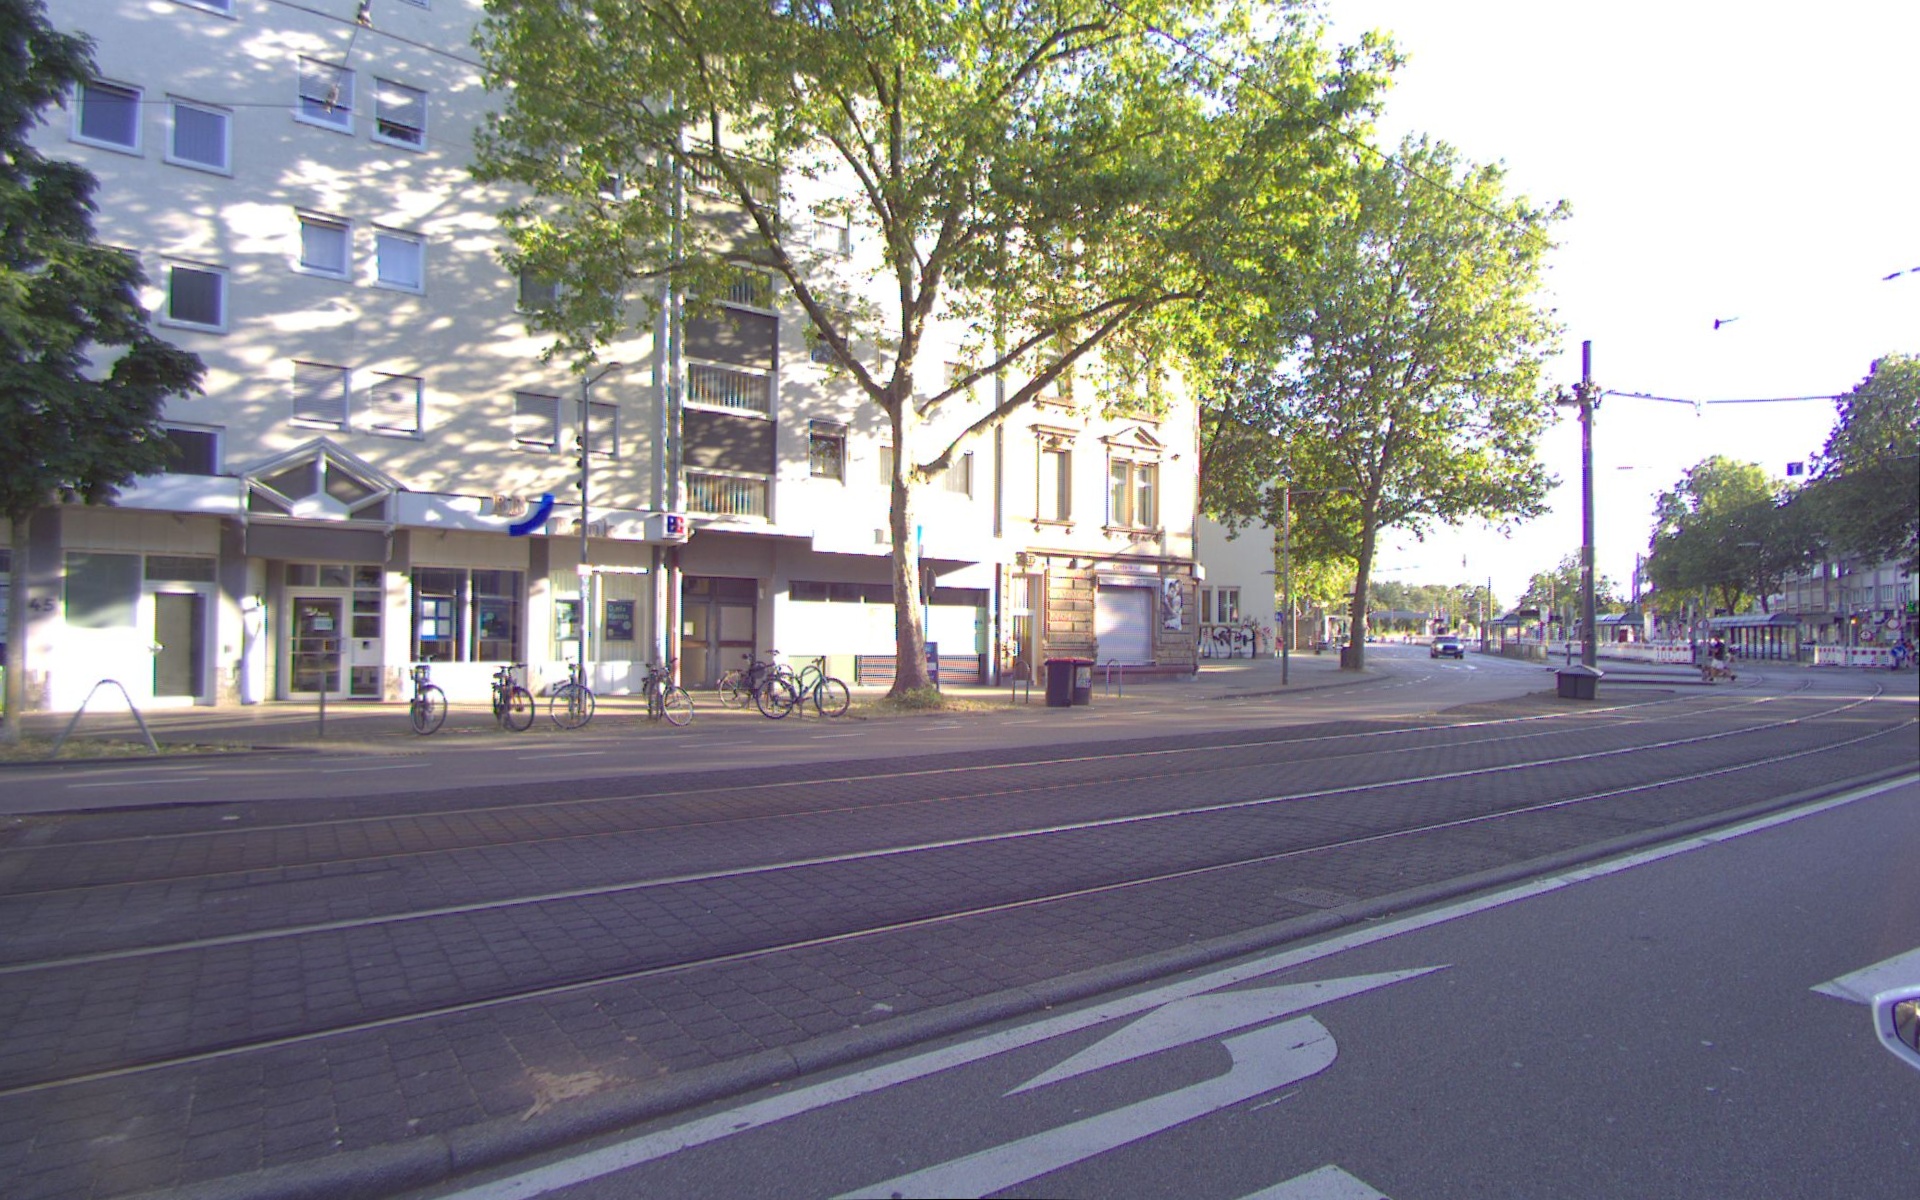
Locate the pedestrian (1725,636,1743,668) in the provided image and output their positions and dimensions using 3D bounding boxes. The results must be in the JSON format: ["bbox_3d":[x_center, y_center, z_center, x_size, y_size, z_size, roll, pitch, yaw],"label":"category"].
[{"bbox_3d":[41.616,2.778,54.022,0.645,1.678,0.444,0,-2,18],"label":"pedestrian"}]

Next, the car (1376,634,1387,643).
[{"bbox_3d":[79.461,7.208,189.320,1.814,1.706,3.716,0,-2,23],"label":"car"}]

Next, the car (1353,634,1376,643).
[{"bbox_3d":[78.247,7.387,194.275,3.919,1.661,1.792,0,-2,13],"label":"car"}]

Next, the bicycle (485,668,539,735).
[{"bbox_3d":[-6.959,1.548,15.580,0.467,0.900,1.729,2,-1,-34],"label":"bicycle"}]

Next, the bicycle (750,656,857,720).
[{"bbox_3d":[-2.821,1.574,18.212,1.800,1.091,0.649,2,-2,-29],"label":"bicycle"}]

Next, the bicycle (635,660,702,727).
[{"bbox_3d":[-4.987,1.569,17.130,0.584,1.002,1.729,2,-1,-34],"label":"bicycle"}]

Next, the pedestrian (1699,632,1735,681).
[{"bbox_3d":[27.282,2.029,36.222,0.510,1.750,0.893,1,-2,-27],"label":"pedestrian"}]

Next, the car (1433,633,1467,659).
[{"bbox_3d":[32.982,3.107,67.698,1.962,1.661,3.997,0,-2,25],"label":"car"}]

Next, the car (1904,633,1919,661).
[{"bbox_3d":[64.537,3.161,66.177,1.960,1.815,4.000,2,-1,20],"label":"car"}]

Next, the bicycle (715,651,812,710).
[{"bbox_3d":[-3.903,1.585,20.006,1.777,1.132,0.617,2,-2,-29],"label":"bicycle"}]

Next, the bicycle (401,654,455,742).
[{"bbox_3d":[-7.829,1.400,14.745,0.506,1.153,1.729,2,-1,-34],"label":"bicycle"}]

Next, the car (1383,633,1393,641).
[{"bbox_3d":[89.579,7.756,210.269,1.814,1.706,3.716,0,-2,23],"label":"car"}]

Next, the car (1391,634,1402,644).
[{"bbox_3d":[78.781,7.043,181.338,1.814,1.706,3.715,-2,-2,23],"label":"car"}]

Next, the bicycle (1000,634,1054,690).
[{"bbox_3d":[1.833,1.689,27.808,0.469,1.430,1.956,1,-1,-29],"label":"bicycle"}]

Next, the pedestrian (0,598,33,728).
[{"bbox_3d":[-14.132,0.890,14.510,0.906,1.852,0.752,2,-1,-30],"label":"pedestrian"}]

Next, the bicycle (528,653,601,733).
[{"bbox_3d":[-6.346,1.449,16.076,0.724,1.128,1.729,2,-1,-34],"label":"bicycle"}]
